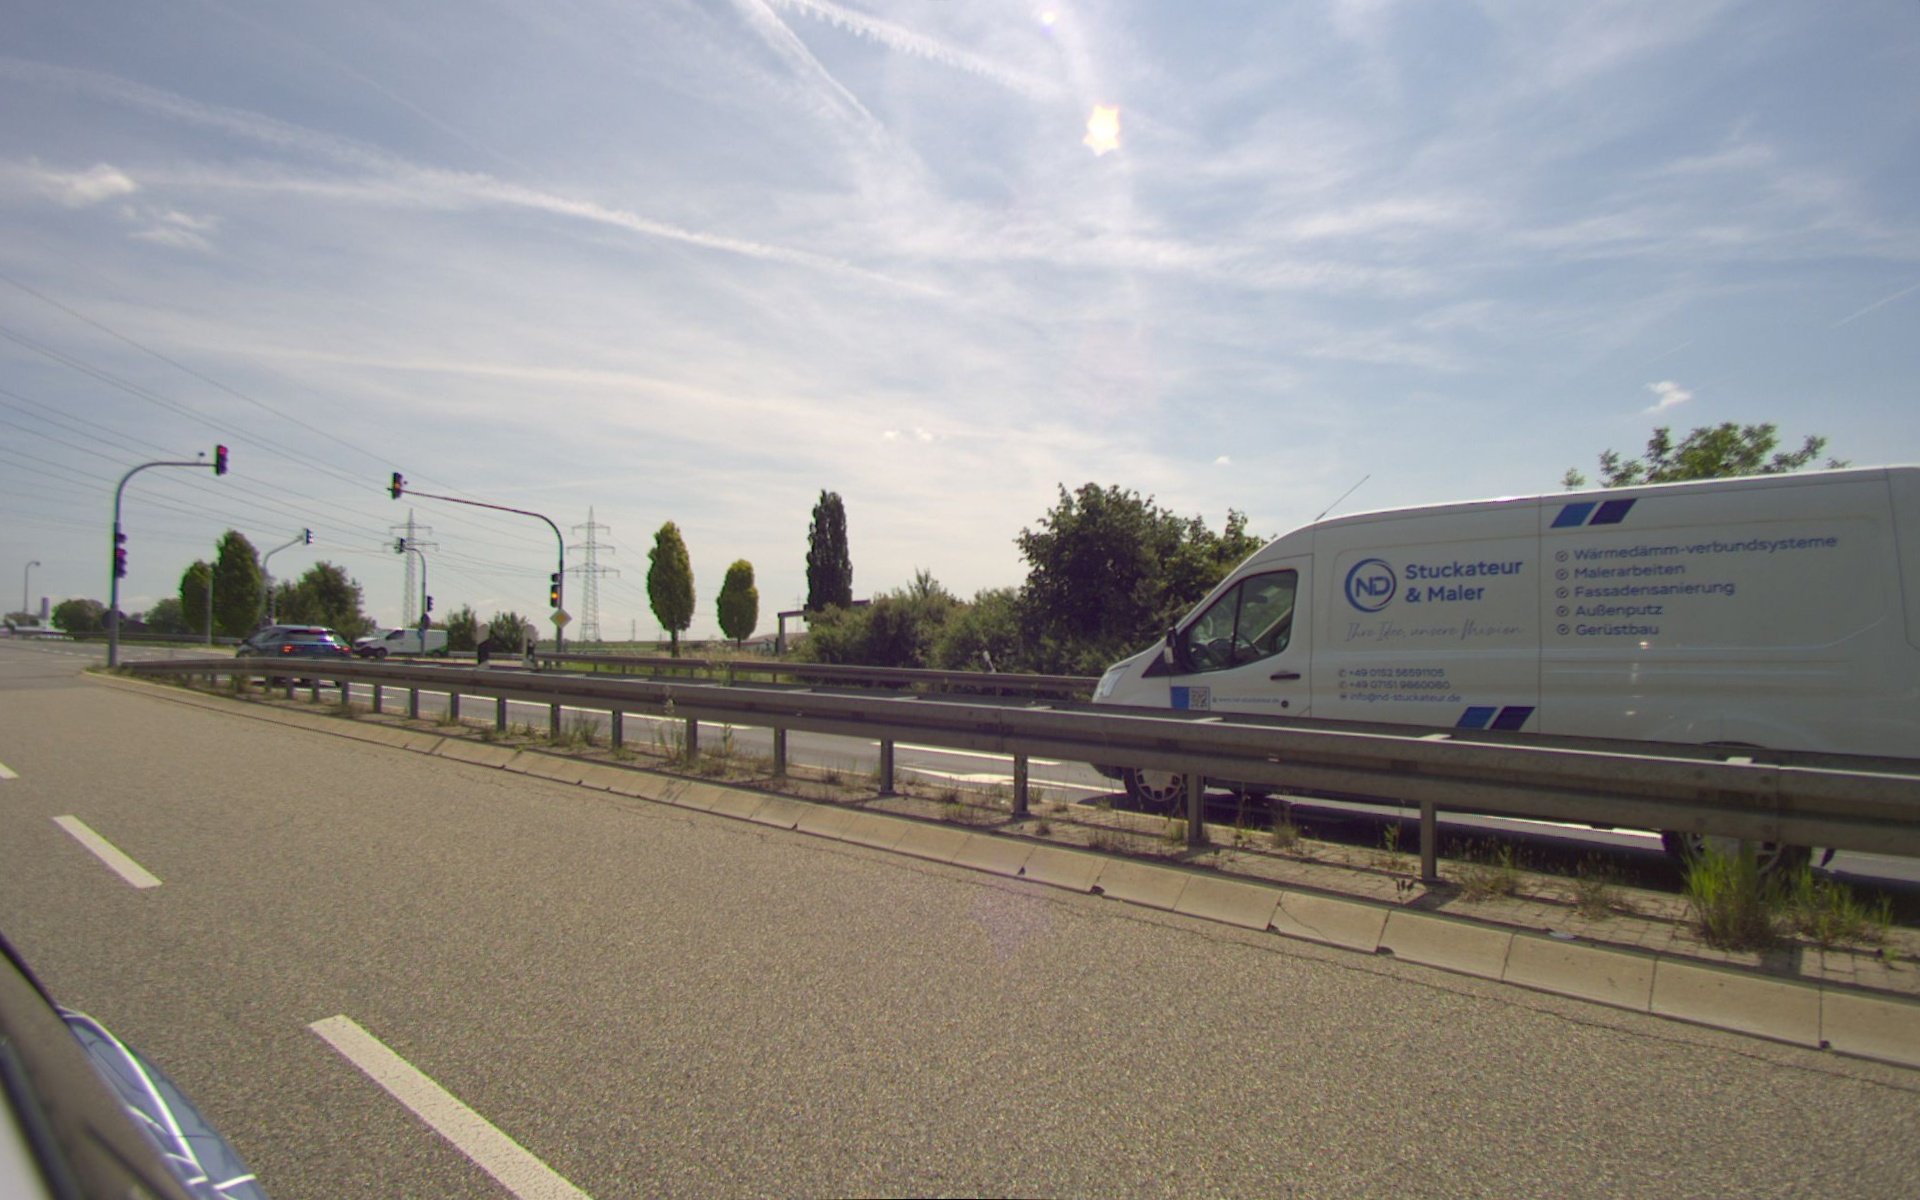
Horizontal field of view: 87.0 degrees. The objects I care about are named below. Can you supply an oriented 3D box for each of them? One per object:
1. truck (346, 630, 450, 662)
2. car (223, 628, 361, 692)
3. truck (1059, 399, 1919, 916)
[{"bbox_3d":[-34.370,2.830,62.020,1.992,1.770,5.227,0,-4,30],"label":"truck"},{"bbox_3d":[-16.997,1.462,25.681,4.192,1.480,1.738,-1,-2,39],"label":"car"},{"bbox_3d":[3.790,0.389,7.487,6.017,2.641,2.019,-1,-5,41],"label":"truck"}]
